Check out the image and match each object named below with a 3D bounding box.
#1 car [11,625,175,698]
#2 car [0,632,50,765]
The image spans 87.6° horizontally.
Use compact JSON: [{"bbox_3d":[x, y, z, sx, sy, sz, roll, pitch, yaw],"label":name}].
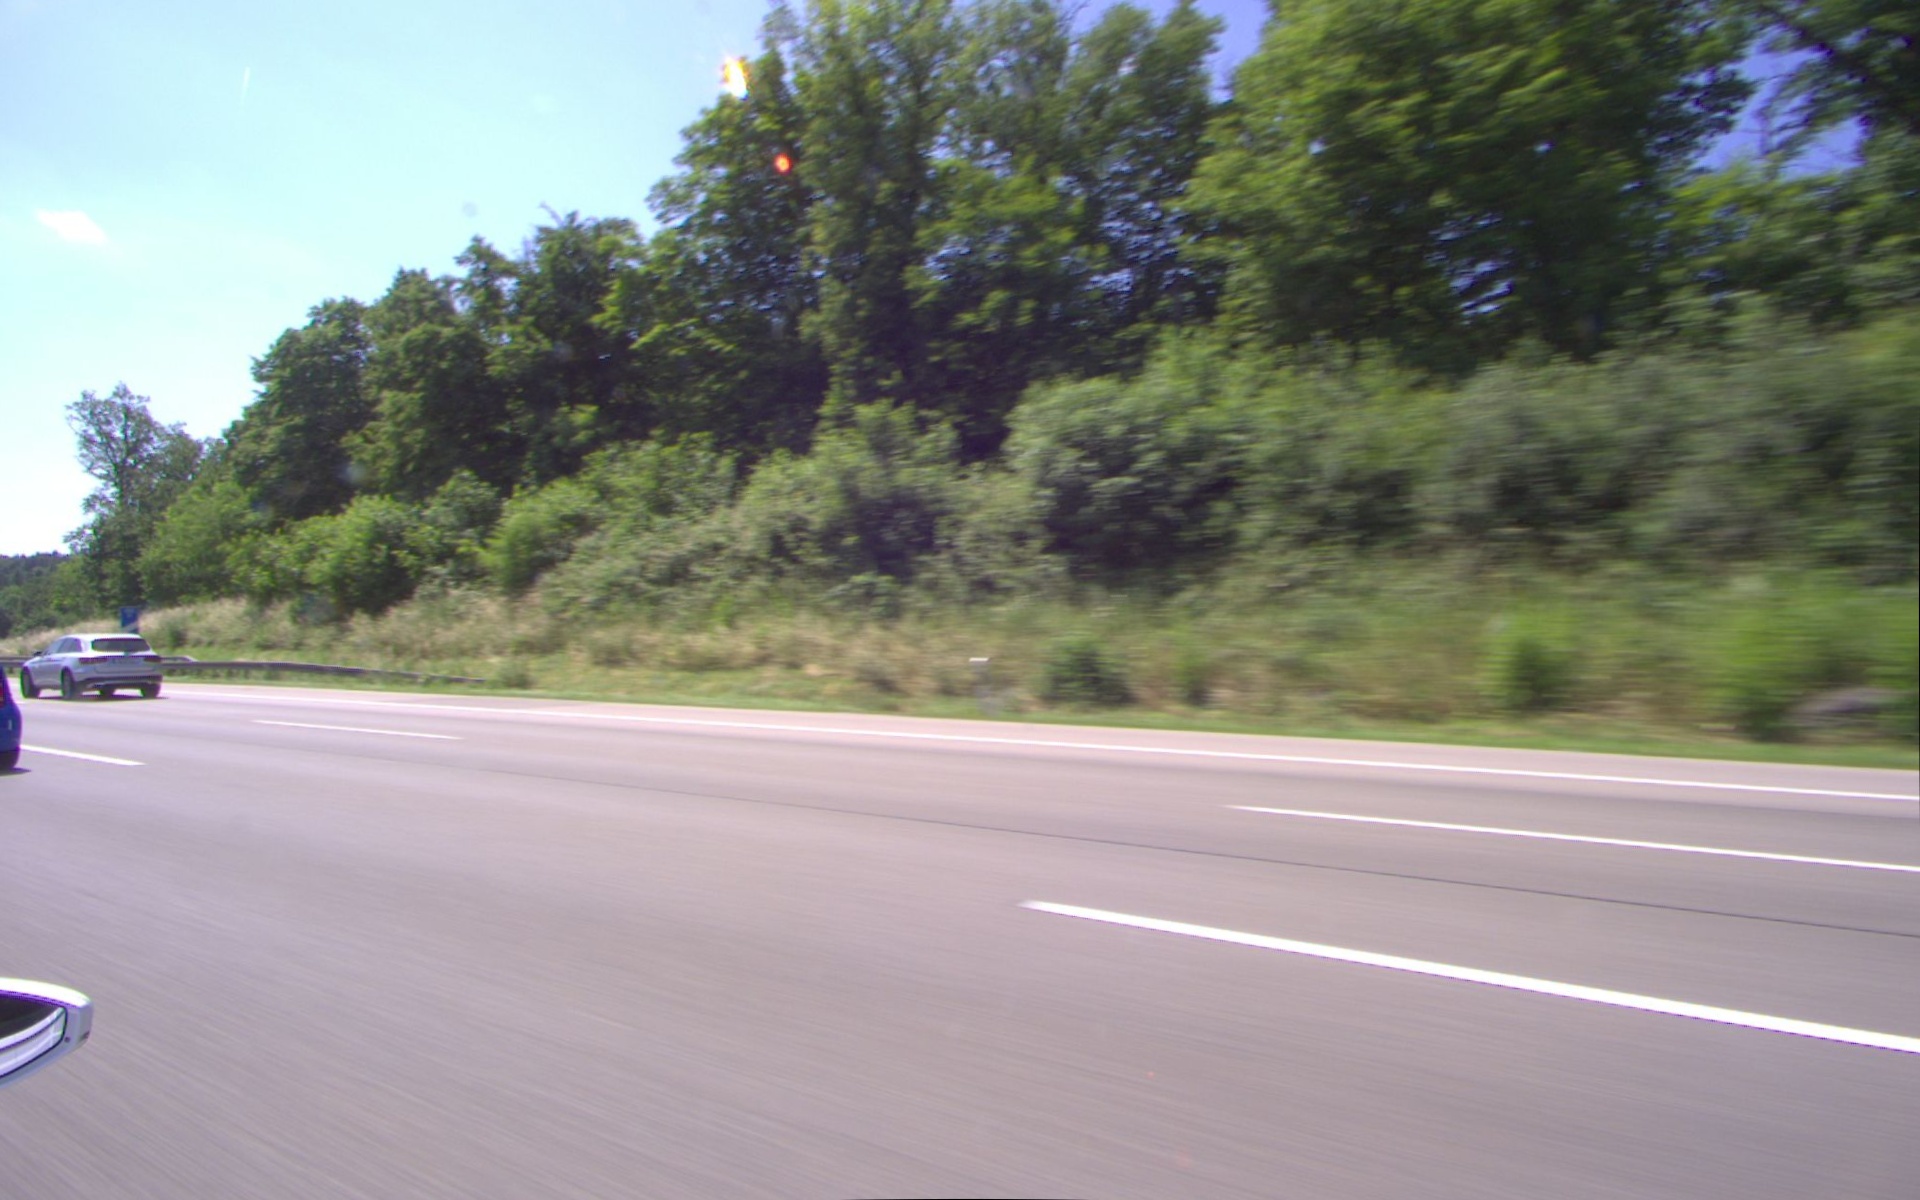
[{"bbox_3d":[-22.879,1.548,26.368,5.163,1.753,1.798,-1,-2,32],"label":"car"},{"bbox_3d":[-12.256,1.104,11.481,3.943,1.429,1.734,-2,-1,32],"label":"car"}]
